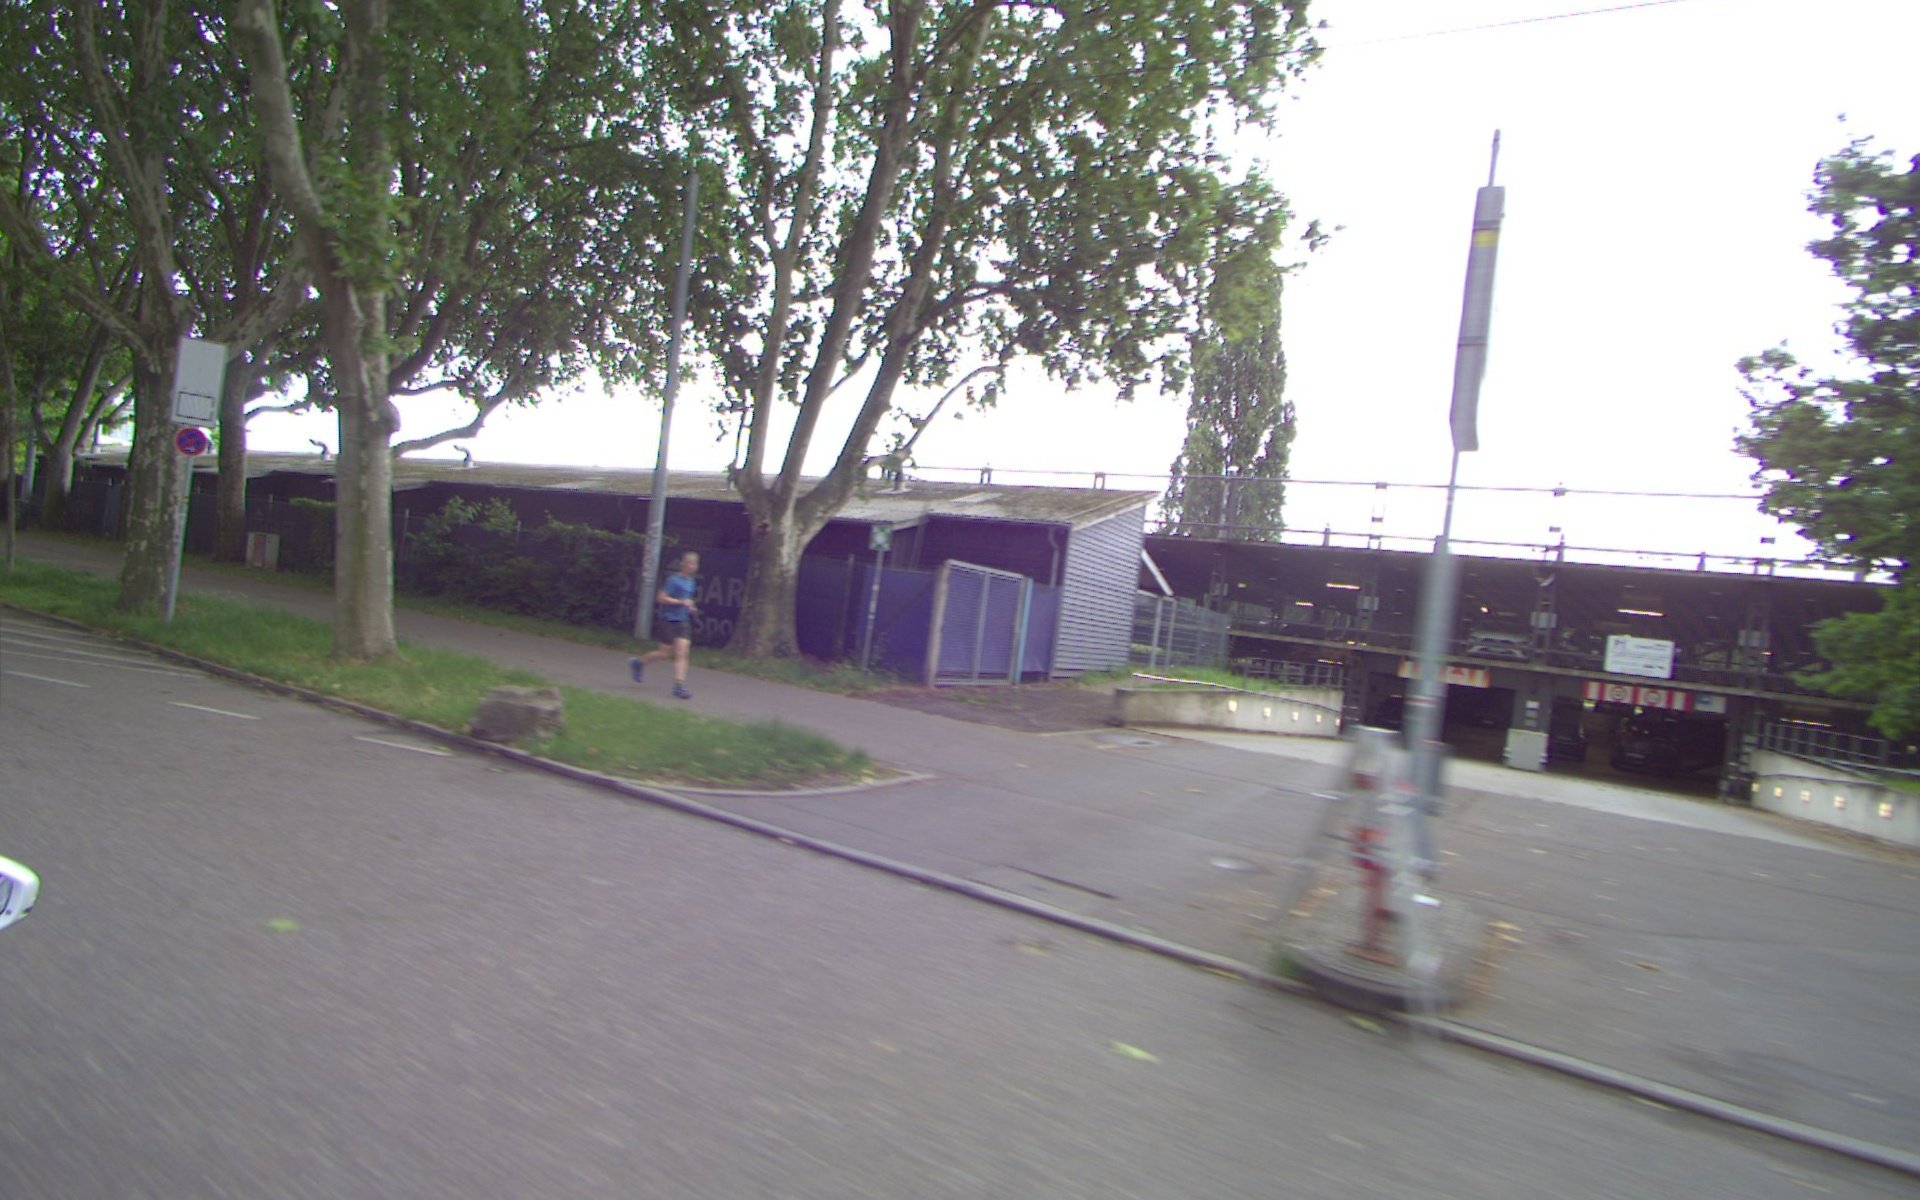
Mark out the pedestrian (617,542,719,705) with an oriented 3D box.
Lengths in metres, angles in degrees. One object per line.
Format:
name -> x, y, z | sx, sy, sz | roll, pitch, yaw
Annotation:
pedestrian -> -3.866, 0.310, 13.327 | 0.869, 2.037, 0.709 | 6, -1, 41

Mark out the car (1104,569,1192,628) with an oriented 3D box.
car -> 7.310, -0.014, 38.779 | 1.950, 1.692, 4.270 | 7, -2, 29

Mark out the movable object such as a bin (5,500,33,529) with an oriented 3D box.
movable object such as a bin -> -33.731, -3.066, 36.064 | 0.663, 0.972, 0.567 | 7, 5, 31
